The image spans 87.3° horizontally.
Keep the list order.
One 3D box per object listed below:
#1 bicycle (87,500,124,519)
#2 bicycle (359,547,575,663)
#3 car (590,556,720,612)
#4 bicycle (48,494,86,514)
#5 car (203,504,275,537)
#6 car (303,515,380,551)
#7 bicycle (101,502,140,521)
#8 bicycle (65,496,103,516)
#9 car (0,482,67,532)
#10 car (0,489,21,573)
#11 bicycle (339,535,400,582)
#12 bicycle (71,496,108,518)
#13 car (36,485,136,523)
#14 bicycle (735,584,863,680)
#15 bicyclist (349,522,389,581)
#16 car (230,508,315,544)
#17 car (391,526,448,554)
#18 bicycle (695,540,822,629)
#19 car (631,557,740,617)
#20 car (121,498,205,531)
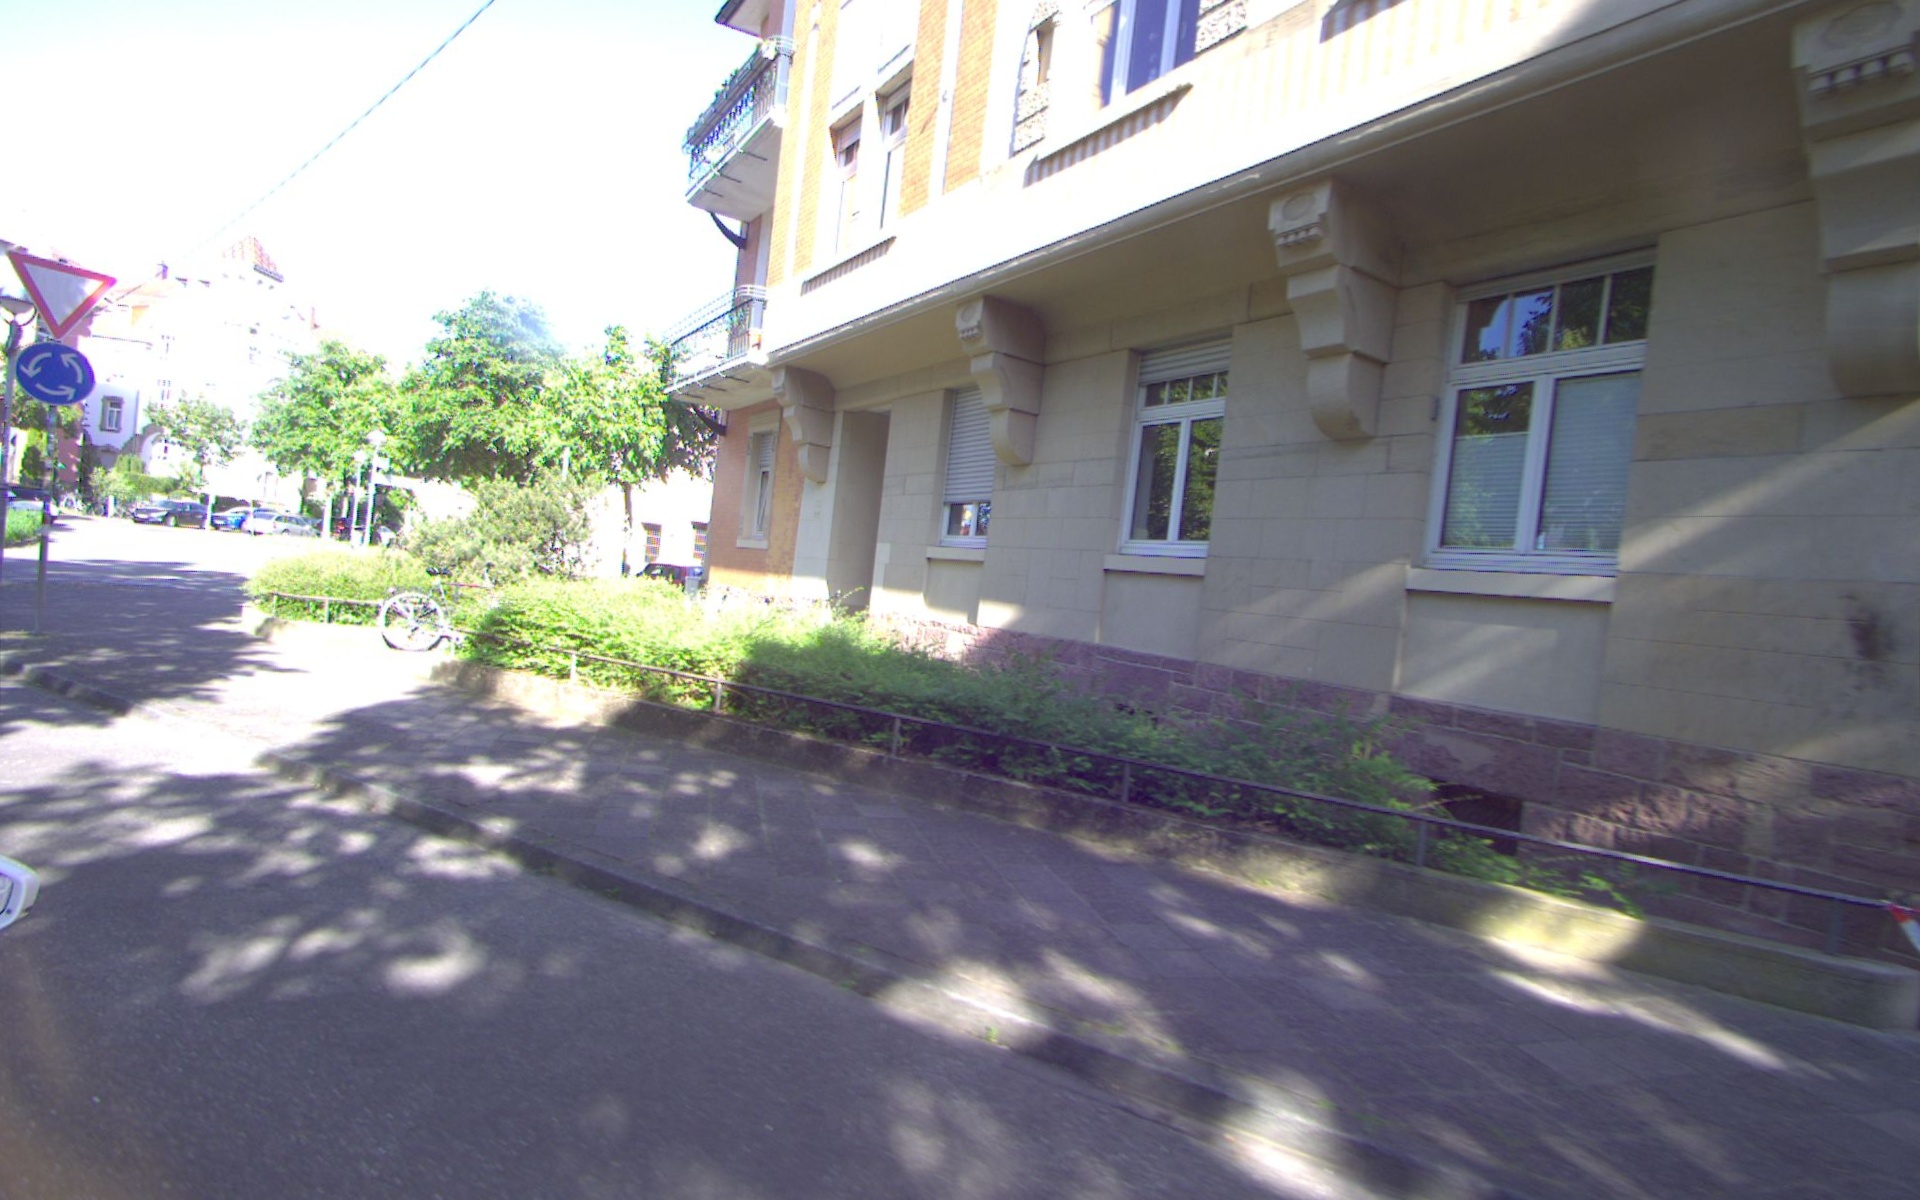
[{"bbox_3d":[-46.974,-4.976,55.302,2.244,0.833,0.479,7,1,21],"label":"bicycle"},{"bbox_3d":[-5.863,0.088,12.064,2.208,1.174,0.384,6,1,-35],"label":"bicycle"},{"bbox_3d":[-10.377,-0.554,34.257,3.948,1.405,1.731,7,1,-25],"label":"car"},{"bbox_3d":[-47.097,-5.075,53.074,1.990,0.810,0.479,7,1,16],"label":"bicycle"},{"bbox_3d":[-43.276,-4.744,60.444,1.640,1.507,3.475,7,1,1],"label":"car"},{"bbox_3d":[-32.360,-3.488,52.745,1.531,1.474,3.737,7,1,2],"label":"car"},{"bbox_3d":[-46.772,-4.929,56.069,2.244,0.796,0.626,7,1,21],"label":"bicycle"},{"bbox_3d":[-46.695,-5.000,53.616,2.244,0.810,0.479,7,1,21],"label":"bicycle"},{"bbox_3d":[-35.868,-3.575,37.530,3.699,1.583,1.720,6,0,8],"label":"car"},{"bbox_3d":[-17.610,-1.259,16.304,1.693,1.502,4.129,6,1,-16],"label":"car"},{"bbox_3d":[-15.323,-1.081,26.084,1.844,1.049,0.507,7,2,32],"label":"bicycle"},{"bbox_3d":[-47.082,-5.042,54.415,2.244,0.926,0.479,7,1,21],"label":"bicycle"},{"bbox_3d":[-43.431,-4.728,50.090,1.728,1.386,3.642,7,1,-2],"label":"car"},{"bbox_3d":[-2.016,0.417,12.729,1.548,1.074,0.268,6,1,-35],"label":"bicycle"},{"bbox_3d":[-15.326,-1.247,26.092,0.729,1.434,0.509,7,2,32],"label":"bicyclist"},{"bbox_3d":[-35.943,-3.844,52.724,1.531,1.473,3.976,7,1,2],"label":"car"},{"bbox_3d":[-35.523,-3.929,66.191,1.629,1.455,3.457,7,1,4],"label":"car"},{"bbox_3d":[-2.846,-0.202,14.286,1.667,1.074,0.384,6,1,-35],"label":"bicycle"},{"bbox_3d":[-7.883,-0.332,29.187,1.542,1.491,3.515,7,1,10],"label":"car"},{"bbox_3d":[-43.712,-4.662,55.271,1.728,1.386,3.641,7,1,-4],"label":"car"}]
